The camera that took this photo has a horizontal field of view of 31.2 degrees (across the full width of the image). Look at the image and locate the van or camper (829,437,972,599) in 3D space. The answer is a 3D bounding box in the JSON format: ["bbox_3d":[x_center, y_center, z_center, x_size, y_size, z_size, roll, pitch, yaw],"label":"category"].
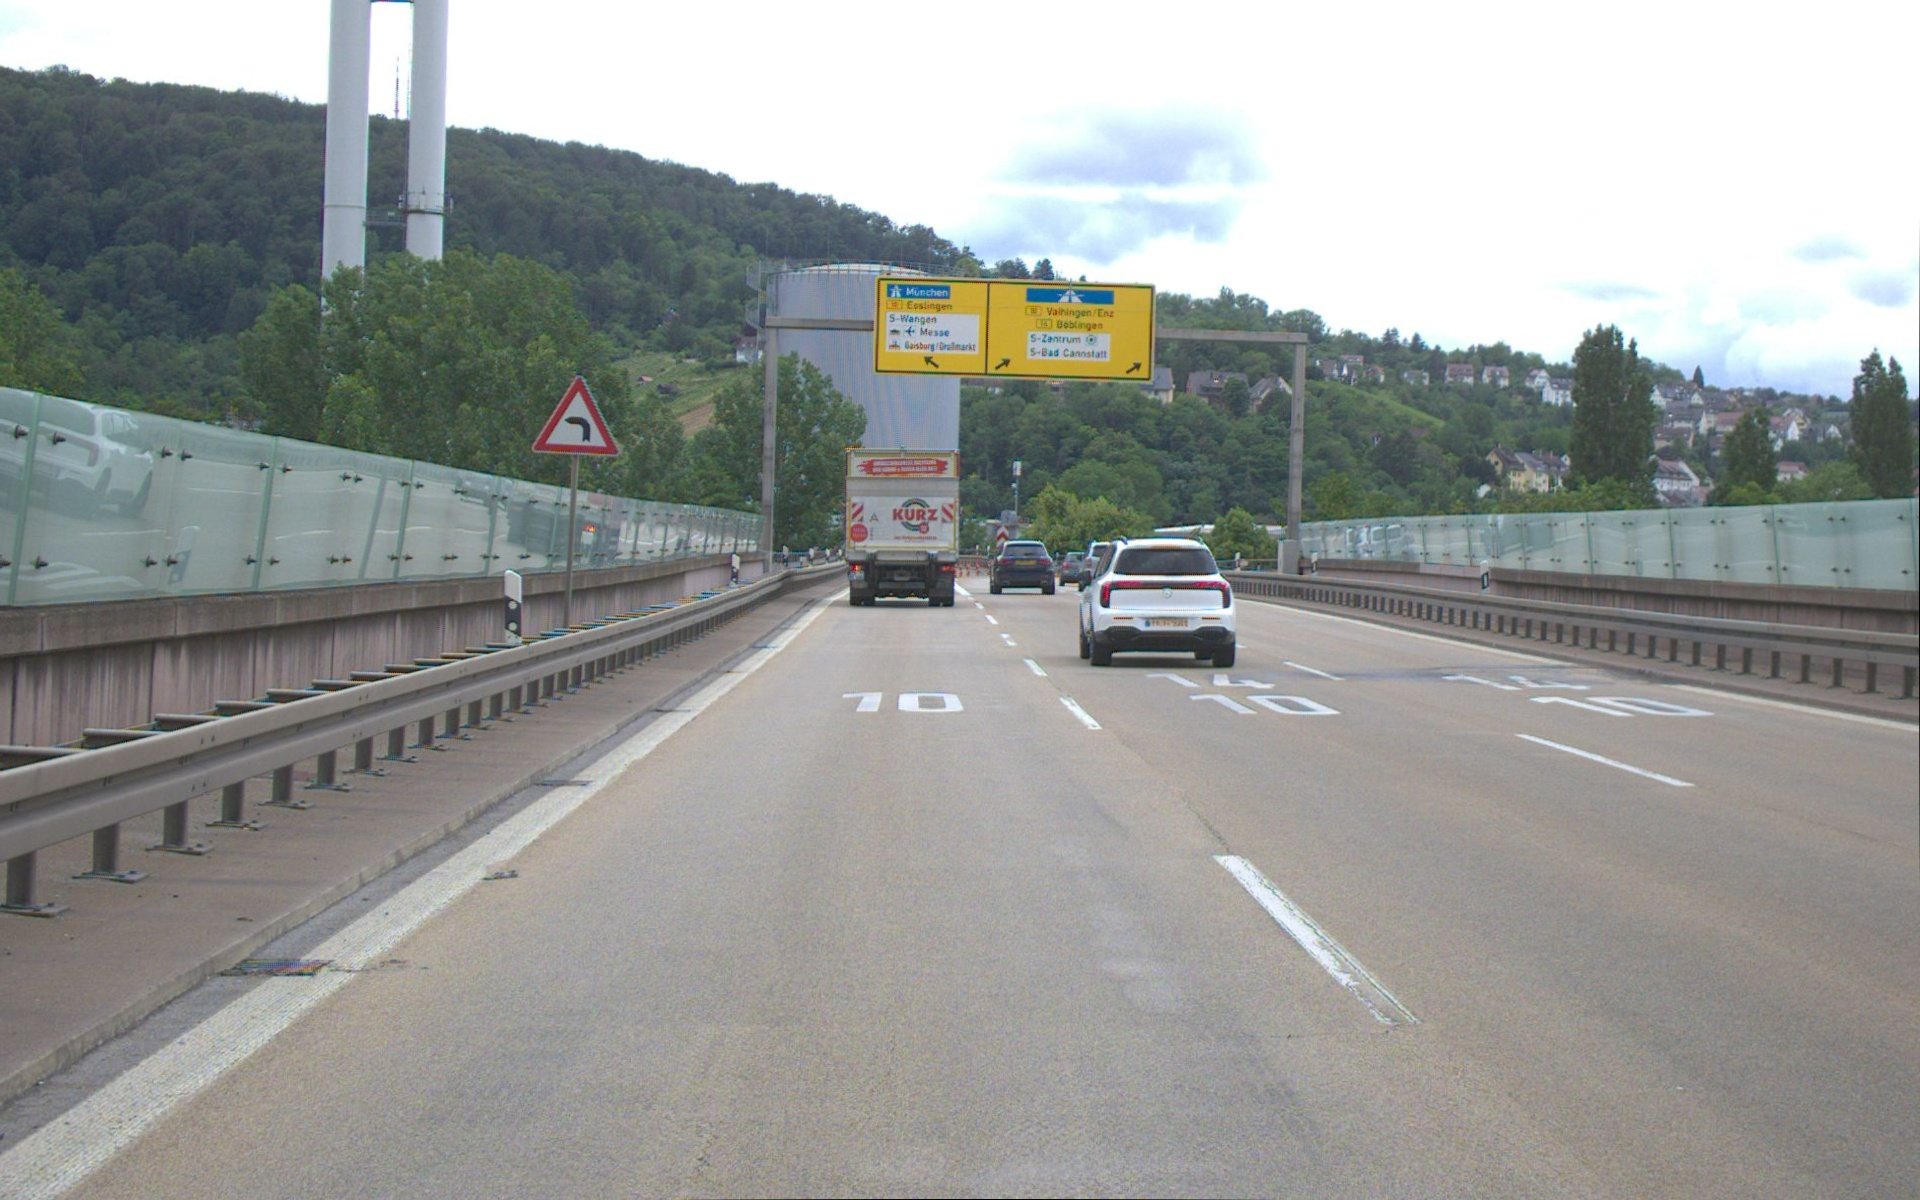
[{"bbox_3d":[-1.303,-1.890,80.499,3.122,3.567,8.550,1,1,0],"label":"van or camper"}]

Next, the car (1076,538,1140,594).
[{"bbox_3d":[4.889,-1.145,114.163,1.924,1.779,4.113,1,1,0],"label":"car"}]

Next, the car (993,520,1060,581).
[{"bbox_3d":[2.011,-1.534,104.843,1.924,1.779,4.113,1,1,0],"label":"car"}]

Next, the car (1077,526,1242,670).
[{"bbox_3d":[2.592,-0.067,45.520,1.924,1.779,4.113,1,1,0],"label":"car"}]

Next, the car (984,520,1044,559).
[{"bbox_3d":[2.881,-3.177,180.855,2.474,1.973,5.158,1,1,9],"label":"car"}]
